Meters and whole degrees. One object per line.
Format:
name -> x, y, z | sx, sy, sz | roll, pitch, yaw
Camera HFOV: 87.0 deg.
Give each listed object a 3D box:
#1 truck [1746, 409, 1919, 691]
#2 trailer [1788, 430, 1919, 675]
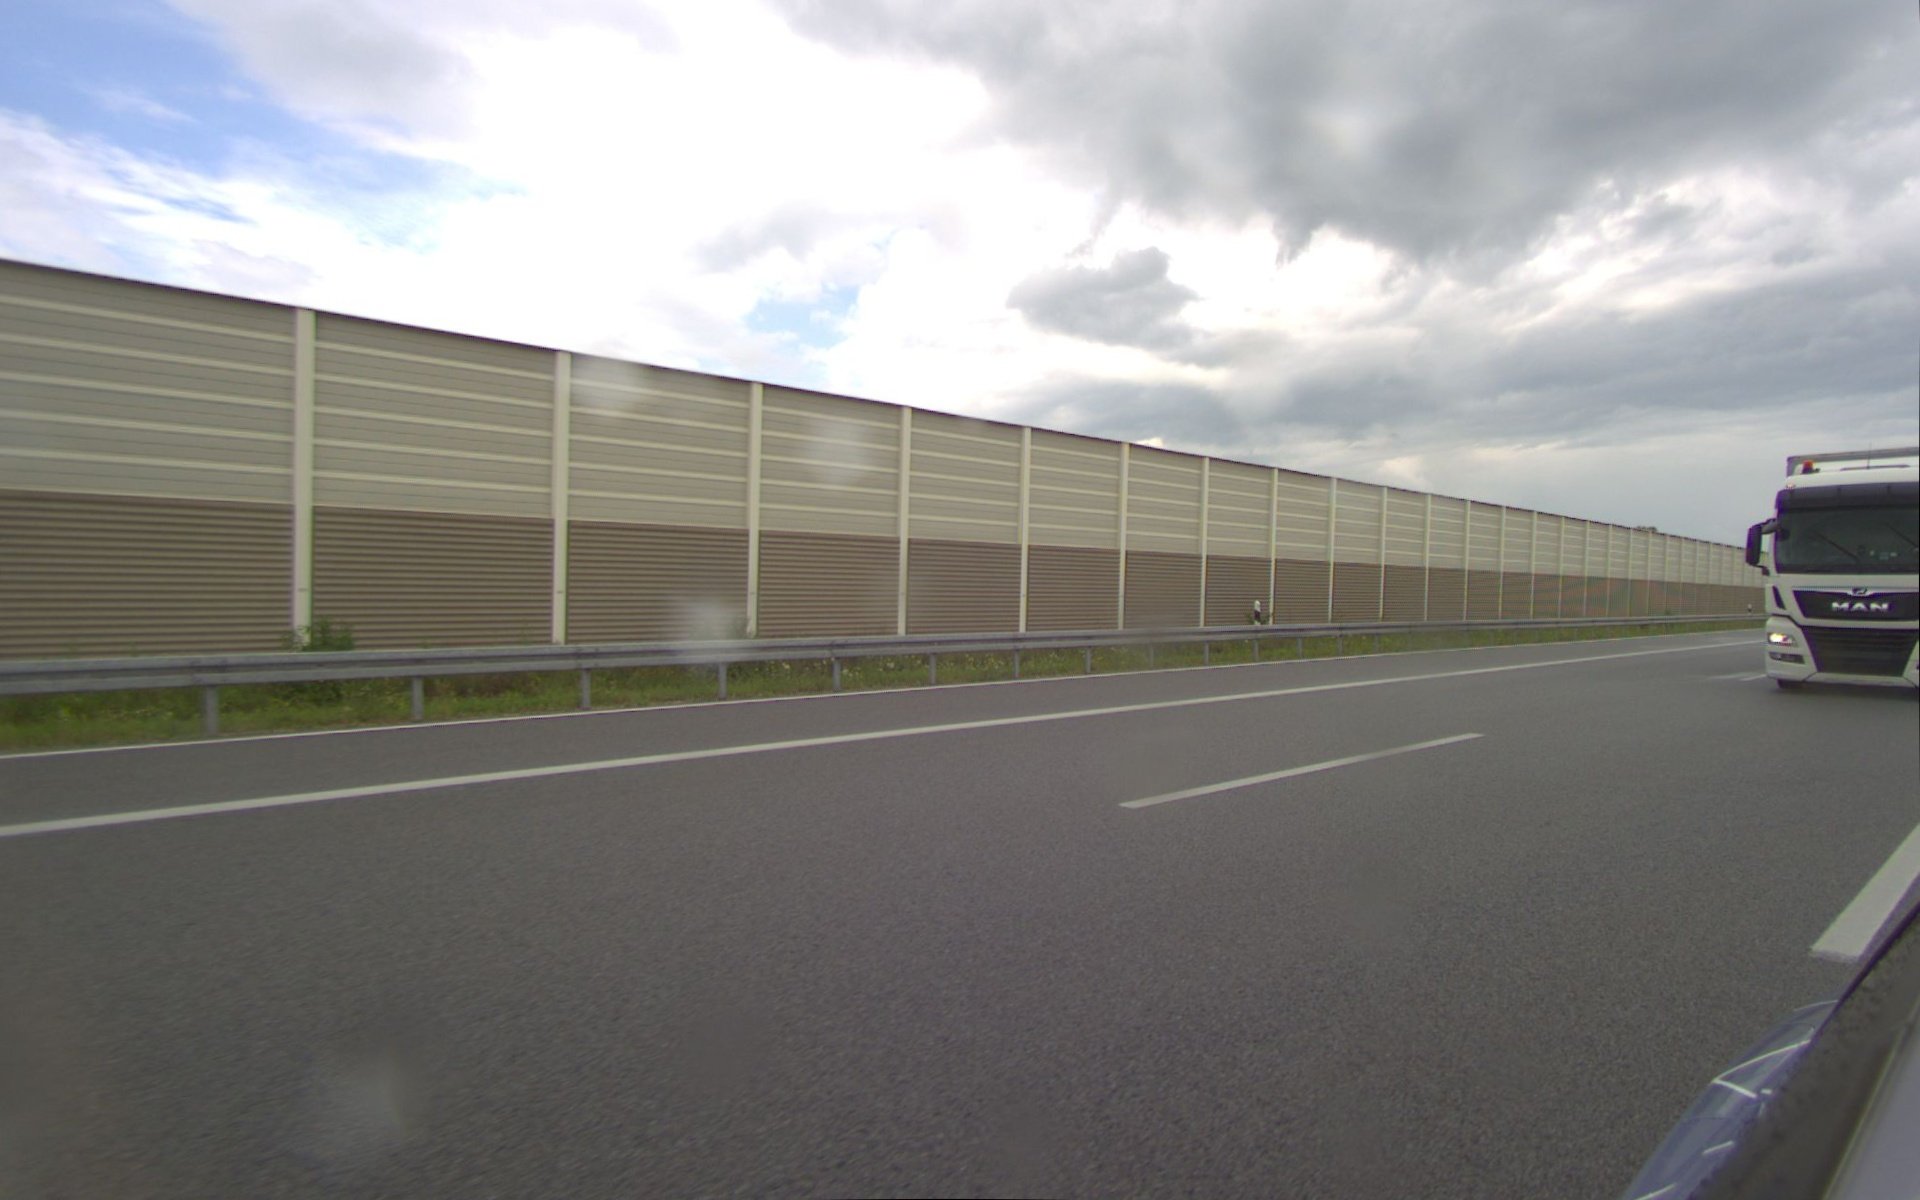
truck -> 15.860, -0.763, 17.291 | 5.102, 4.223, 2.910 | 0, 0, -41
trailer -> 21.275, -0.874, 22.239 | 12.972, 4.266, 2.922 | -1, 0, -42
